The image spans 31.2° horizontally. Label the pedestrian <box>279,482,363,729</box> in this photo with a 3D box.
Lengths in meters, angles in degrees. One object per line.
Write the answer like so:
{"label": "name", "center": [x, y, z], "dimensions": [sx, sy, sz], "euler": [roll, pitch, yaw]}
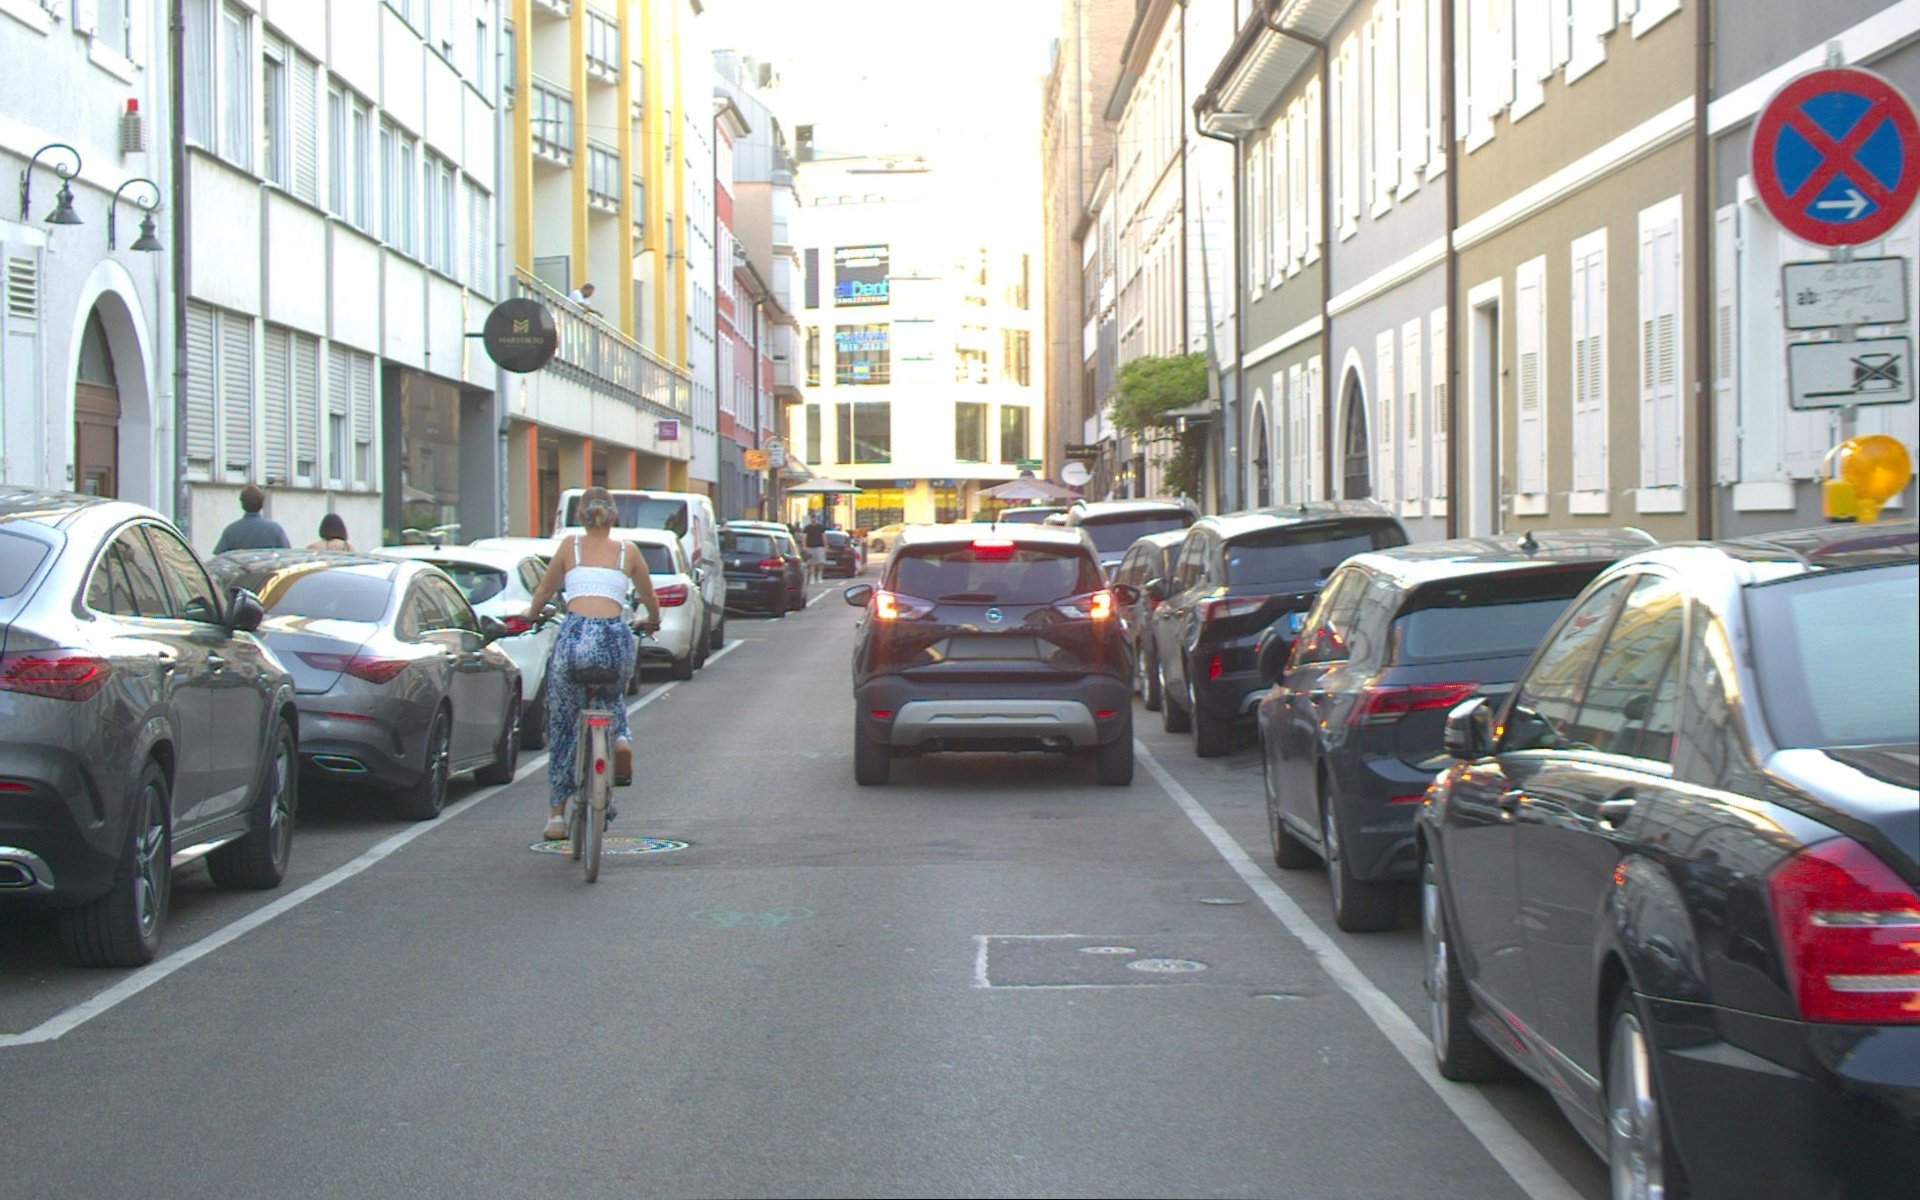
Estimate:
{"label": "pedestrian", "center": [-5.235, 0.041, 28.181], "dimensions": [0.610, 2.007, 0.450], "euler": [0, 1, -3]}

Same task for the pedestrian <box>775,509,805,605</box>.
{"label": "pedestrian", "center": [-3.100, -0.780, 62.686], "dimensions": [0.554, 1.746, 0.568], "euler": [0, 1, -3]}

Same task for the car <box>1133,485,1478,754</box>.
{"label": "car", "center": [2.358, 0.078, 24.494], "dimensions": [1.918, 1.732, 4.154], "euler": [1, 1, -1]}

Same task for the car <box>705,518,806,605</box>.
{"label": "car", "center": [-3.789, -0.741, 64.135], "dimensions": [1.653, 1.555, 3.606], "euler": [1, 1, 0]}

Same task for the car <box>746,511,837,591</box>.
{"label": "car", "center": [-3.400, -1.011, 69.824], "dimensions": [1.653, 1.555, 3.606], "euler": [1, 1, 0]}

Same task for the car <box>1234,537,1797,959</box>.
{"label": "car", "center": [2.160, 0.496, 14.400], "dimensions": [1.676, 1.481, 4.000], "euler": [1, 1, 0]}

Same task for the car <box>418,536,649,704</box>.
{"label": "car", "center": [-3.830, 0.136, 31.331], "dimensions": [1.653, 1.406, 3.606], "euler": [1, 1, 0]}

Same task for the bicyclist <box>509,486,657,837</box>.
{"label": "bicyclist", "center": [-1.714, 0.269, 15.706], "dimensions": [0.621, 1.569, 0.684], "euler": [0, 1, -2]}

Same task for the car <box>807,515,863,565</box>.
{"label": "car", "center": [-4.019, -1.945, 110.964], "dimensions": [1.653, 1.555, 3.606], "euler": [1, 1, 0]}

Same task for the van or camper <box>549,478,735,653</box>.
{"label": "van or camper", "center": [-3.836, -0.456, 42.148], "dimensions": [1.844, 2.006, 4.678], "euler": [1, 1, 0]}

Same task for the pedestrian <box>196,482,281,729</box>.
{"label": "pedestrian", "center": [-5.930, 0.040, 28.273], "dimensions": [0.610, 2.007, 0.450], "euler": [0, 1, -3]}

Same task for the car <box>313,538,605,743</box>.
{"label": "car", "center": [-3.742, 0.253, 26.241], "dimensions": [1.653, 1.406, 3.903], "euler": [1, 1, 0]}

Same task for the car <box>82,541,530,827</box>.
{"label": "car", "center": [-3.657, 0.400, 19.962], "dimensions": [1.918, 1.429, 4.294], "euler": [1, 1, -2]}

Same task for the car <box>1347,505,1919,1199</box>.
{"label": "car", "center": [2.065, 0.590, 7.667], "dimensions": [1.819, 1.524, 5.071], "euler": [-4, 1, 1]}

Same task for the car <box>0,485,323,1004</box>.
{"label": "car", "center": [-3.868, 0.411, 13.522], "dimensions": [1.997, 1.701, 4.536], "euler": [1, 1, -2]}

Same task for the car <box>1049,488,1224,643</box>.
{"label": "car", "center": [1.844, -0.393, 36.831], "dimensions": [1.653, 1.555, 3.606], "euler": [1, 1, 0]}

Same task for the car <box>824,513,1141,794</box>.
{"label": "car", "center": [0.101, 0.262, 21.946], "dimensions": [1.819, 1.612, 4.000], "euler": [1, 1, -1]}

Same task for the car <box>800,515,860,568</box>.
{"label": "car", "center": [-3.927, -1.789, 104.195], "dimensions": [1.653, 1.555, 3.606], "euler": [1, 1, 0]}

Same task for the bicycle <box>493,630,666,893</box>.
{"label": "bicycle", "center": [-1.715, 0.704, 15.714], "dimensions": [0.613, 1.078, 1.809], "euler": [0, 1, -1]}

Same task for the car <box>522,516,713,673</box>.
{"label": "car", "center": [-3.567, -0.095, 36.306], "dimensions": [1.653, 1.555, 3.606], "euler": [1, 1, 0]}

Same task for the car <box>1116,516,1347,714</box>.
{"label": "car", "center": [2.249, 0.077, 29.248], "dimensions": [1.653, 1.555, 3.606], "euler": [1, 1, 0]}

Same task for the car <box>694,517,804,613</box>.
{"label": "car", "center": [-3.579, -0.624, 58.830], "dimensions": [1.653, 1.555, 3.606], "euler": [1, 1, 0]}
